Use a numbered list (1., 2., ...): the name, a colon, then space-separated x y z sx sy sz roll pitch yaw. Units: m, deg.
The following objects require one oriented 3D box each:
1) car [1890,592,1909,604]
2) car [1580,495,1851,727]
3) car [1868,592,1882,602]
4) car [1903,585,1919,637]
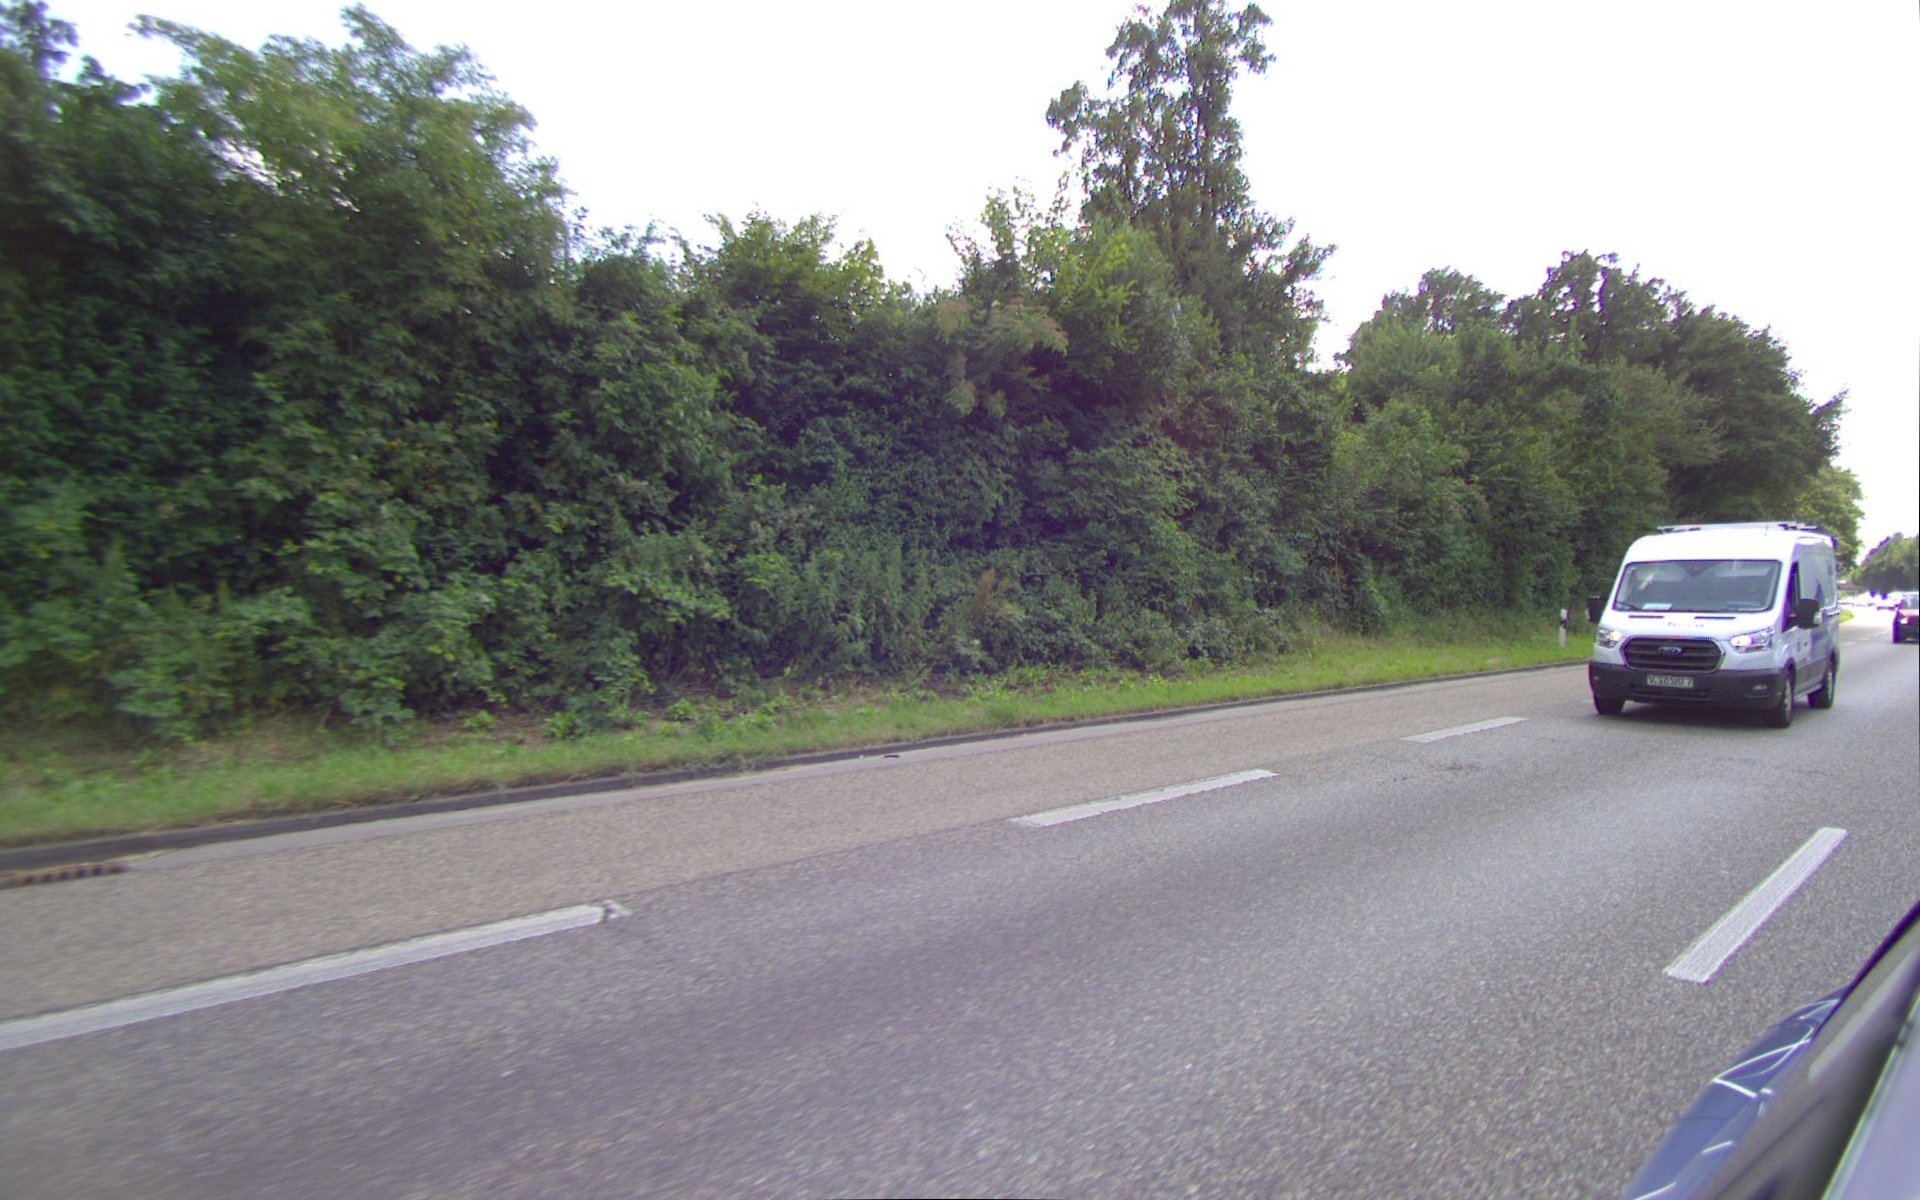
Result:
1. car: 125.300 -0.321 134.945 1.781 1.540 3.937 2 2 43
2. car: 10.311 0.105 13.630 5.191 2.539 2.100 0 0 -44
3. car: 157.816 -0.532 174.545 1.781 1.540 3.938 2 2 43
4. car: 35.551 0.368 36.572 4.321 1.828 1.905 0 0 -43
